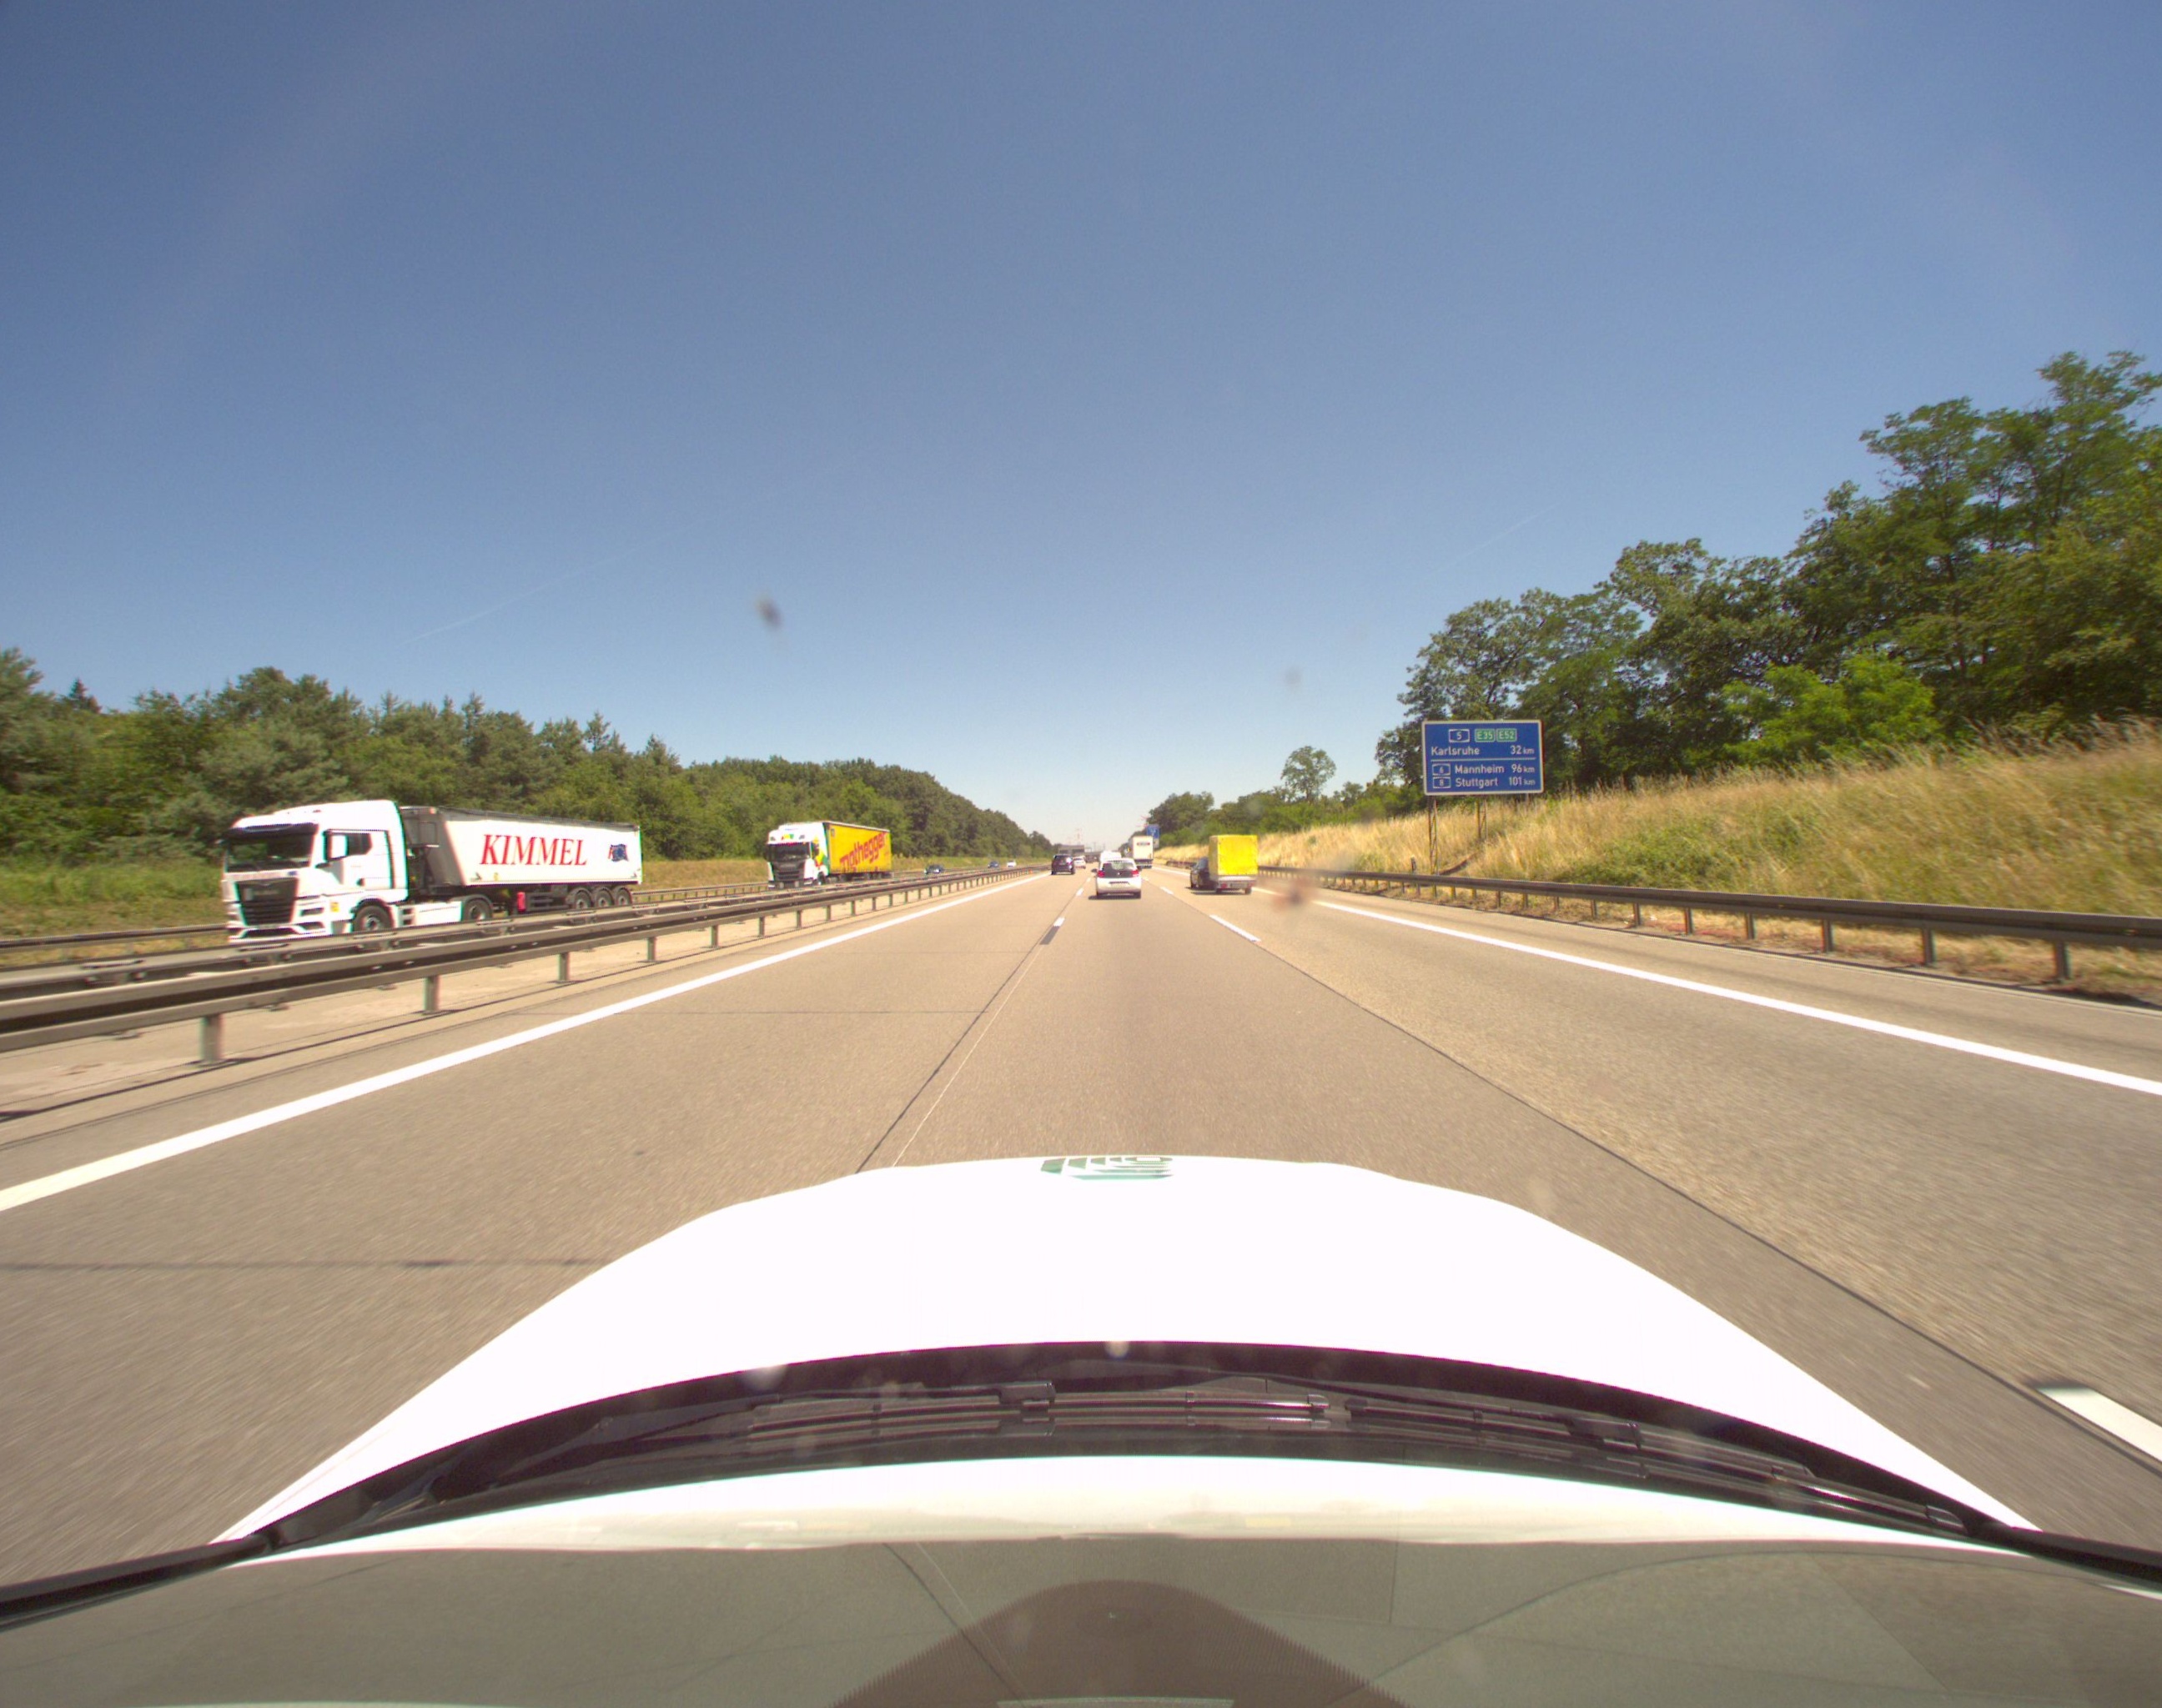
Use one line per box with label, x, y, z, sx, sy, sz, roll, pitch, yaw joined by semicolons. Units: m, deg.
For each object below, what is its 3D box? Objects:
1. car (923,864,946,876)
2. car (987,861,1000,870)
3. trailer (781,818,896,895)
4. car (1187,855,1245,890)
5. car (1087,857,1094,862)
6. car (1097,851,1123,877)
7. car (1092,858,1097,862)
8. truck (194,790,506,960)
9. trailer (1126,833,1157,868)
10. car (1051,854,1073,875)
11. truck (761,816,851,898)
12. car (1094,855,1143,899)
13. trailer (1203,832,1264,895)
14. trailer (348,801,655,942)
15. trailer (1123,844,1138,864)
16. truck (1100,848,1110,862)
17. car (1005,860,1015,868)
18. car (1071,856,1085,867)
car;-18.027;1.943;100.445;1.669;1.365;4.891;-4;0;1
car;-16.181;2.097;151.134;1.696;1.545;4.536;-4;0;1
trailer;-14.966;0.163;52.006;2.455;4.072;14.283;-4;0;2
car;5.923;0.793;36.293;1.815;1.456;4.788;-1;0;1
car;2.226;1.282;191.393;1.601;1.300;3.675;-1;0;2
car;2.169;0.733;61.195;1.808;1.827;5.111;-1;-1;1
car;4.116;1.666;240.219;1.400;1.131;3.359;-1;0;2
truck;-20.110;0.511;23.082;2.616;3.948;6.485;-4;0;1
trailer;7.697;-0.395;105.564;3.274;4.219;13.567;0;-1;1
car;-1.588;0.864;69.903;1.620;1.755;3.806;-1;0;2
truck;-15.137;0.167;45.345;2.455;4.072;6.289;-4;0;1
car;1.359;0.797;30.246;1.702;1.495;4.025;-1;0;2
trailer;5.912;0.364;31.982;1.697;2.289;3.839;-1;0;0
trailer;-19.935;0.525;29.493;2.616;3.948;11.161;-4;0;2
trailer;10.097;0.057;167.174;2.673;3.837;12.012;0;-1;1
truck;5.116;0.232;174.137;2.053;2.914;7.004;-1;-1;1
car;-15.650;2.180;179.625;1.696;1.661;5.118;-4;0;1
car;-0.369;0.930;104.641;1.663;1.401;3.713;-2;0;0
